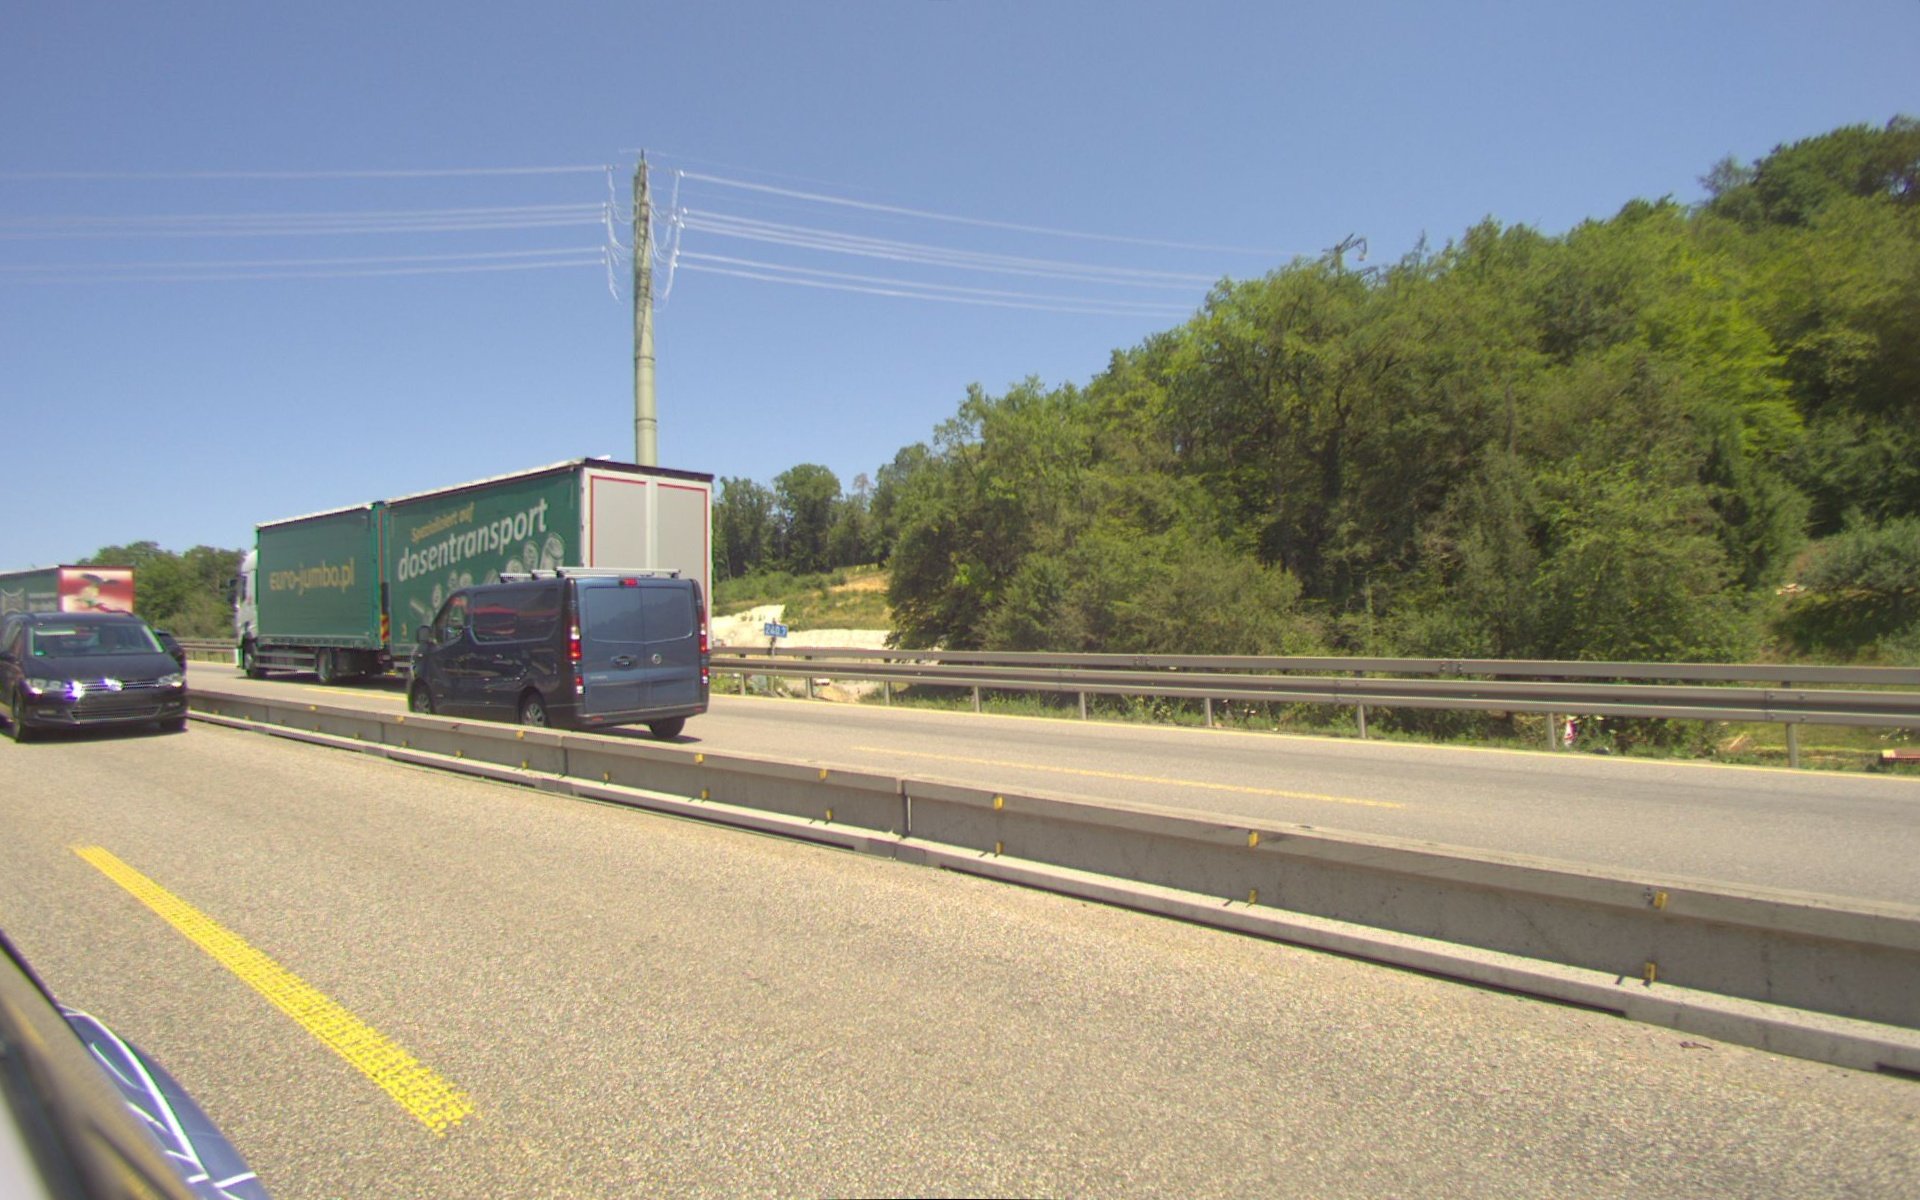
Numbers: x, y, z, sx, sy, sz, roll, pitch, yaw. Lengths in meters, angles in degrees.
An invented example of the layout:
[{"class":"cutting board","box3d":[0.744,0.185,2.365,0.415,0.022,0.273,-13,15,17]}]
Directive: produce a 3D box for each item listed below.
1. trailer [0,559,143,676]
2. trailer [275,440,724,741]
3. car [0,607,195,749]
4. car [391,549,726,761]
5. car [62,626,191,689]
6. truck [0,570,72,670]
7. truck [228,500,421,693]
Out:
[{"class":"trailer","box3d":[-42.369,0.930,47.490,13.979,4.852,3.036,-2,-1,37]},{"class":"trailer","box3d":[-10.605,-0.102,21.523,14.571,4.676,2.805,-1,0,41]},{"class":"car","box3d":[-12.933,1.036,14.711,5.300,1.719,1.837,-2,-2,41]},{"class":"car","box3d":[-5.216,0.585,12.804,4.830,2.189,1.973,-1,0,41]},{"class":"car","box3d":[-22.507,1.489,27.256,4.754,1.473,1.882,-1,0,40]},{"class":"truck","box3d":[-48.034,1.048,51.835,4.638,4.858,3.032,-2,-1,37]},{"class":"truck","box3d":[-17.106,-0.065,27.115,5.784,4.614,2.817,-1,-1,41]}]
